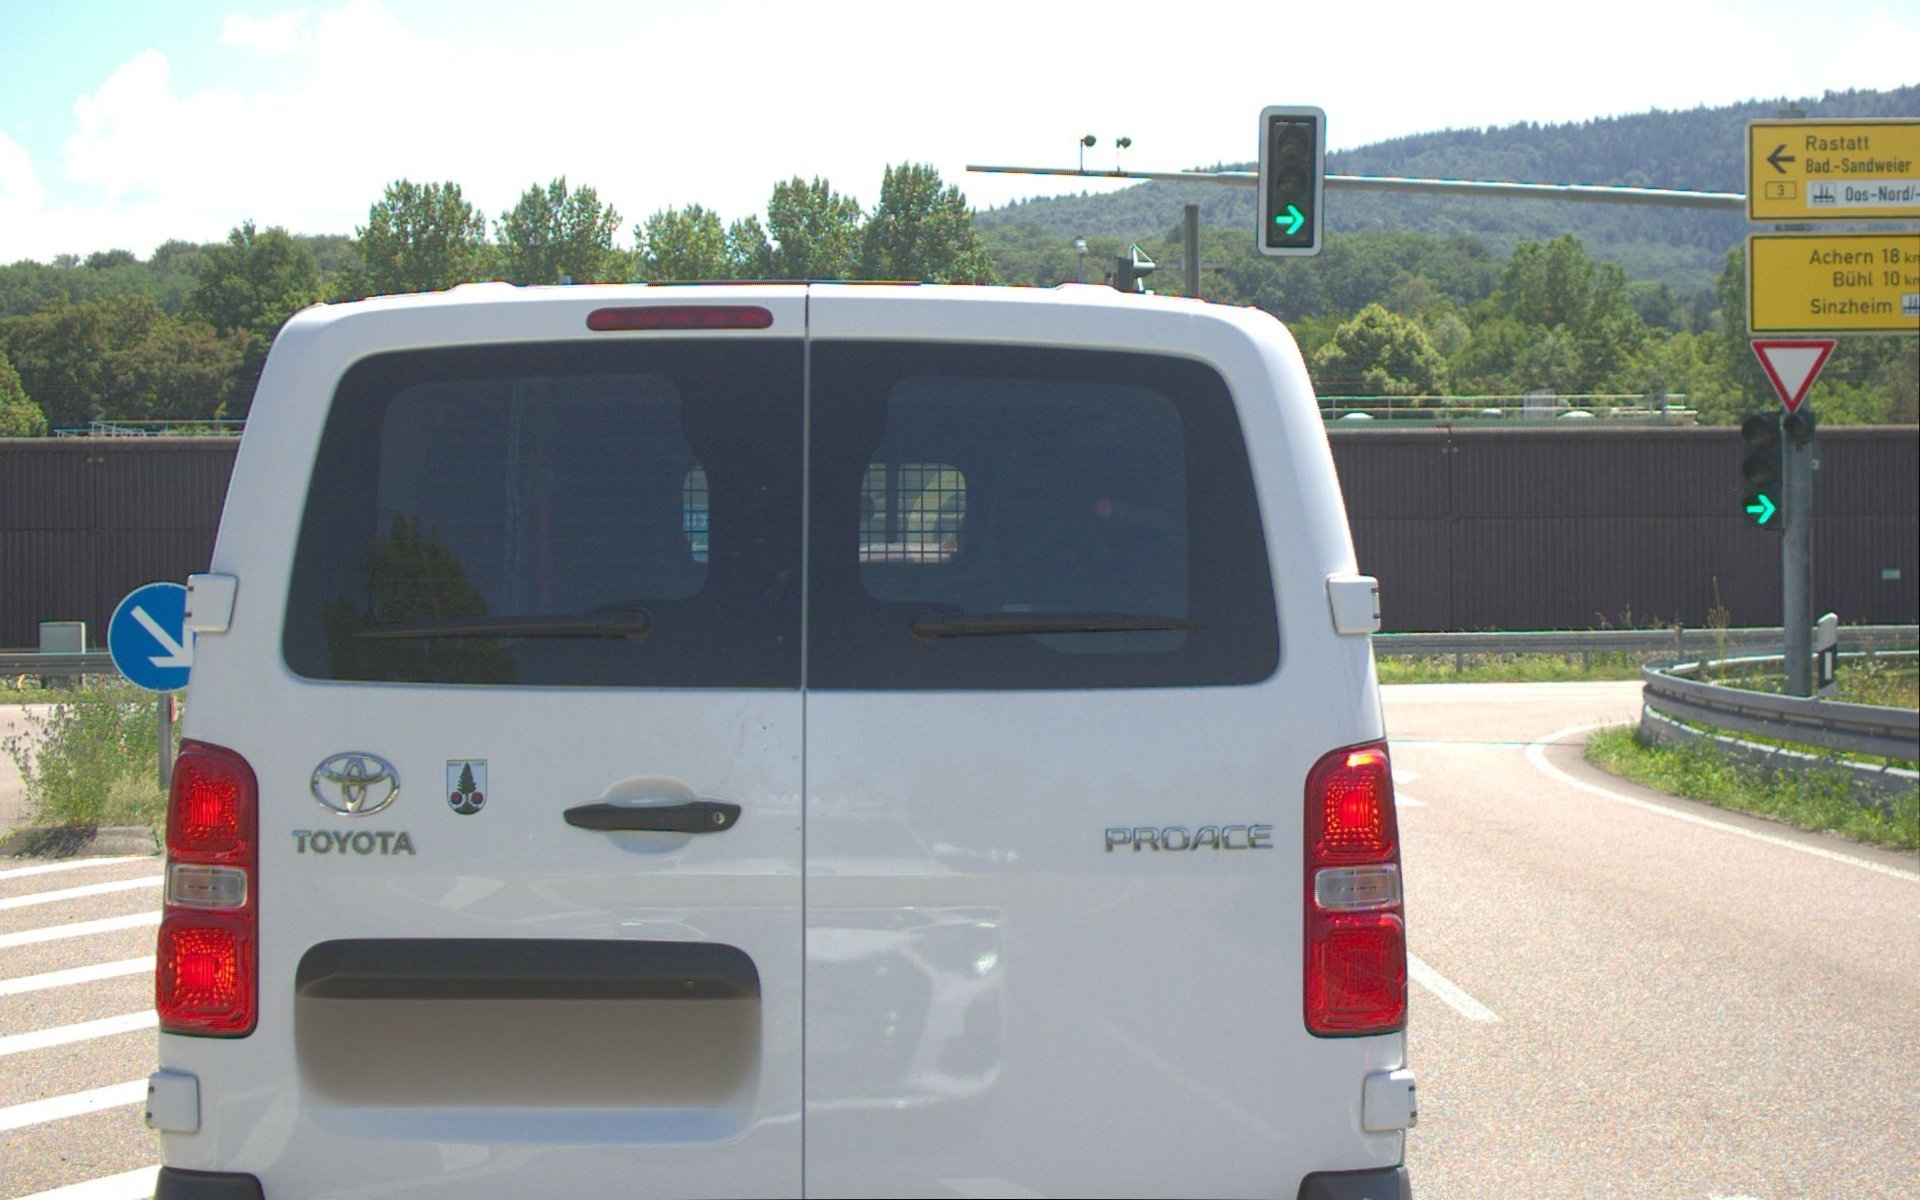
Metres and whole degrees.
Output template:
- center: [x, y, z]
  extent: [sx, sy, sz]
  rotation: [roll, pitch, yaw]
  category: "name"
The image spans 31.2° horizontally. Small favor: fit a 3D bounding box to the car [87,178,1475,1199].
- center: [-0.260, 0.437, 6.506]
  extent: [1.814, 2.011, 4.000]
  rotation: [0, 1, -1]
  category: "car"
